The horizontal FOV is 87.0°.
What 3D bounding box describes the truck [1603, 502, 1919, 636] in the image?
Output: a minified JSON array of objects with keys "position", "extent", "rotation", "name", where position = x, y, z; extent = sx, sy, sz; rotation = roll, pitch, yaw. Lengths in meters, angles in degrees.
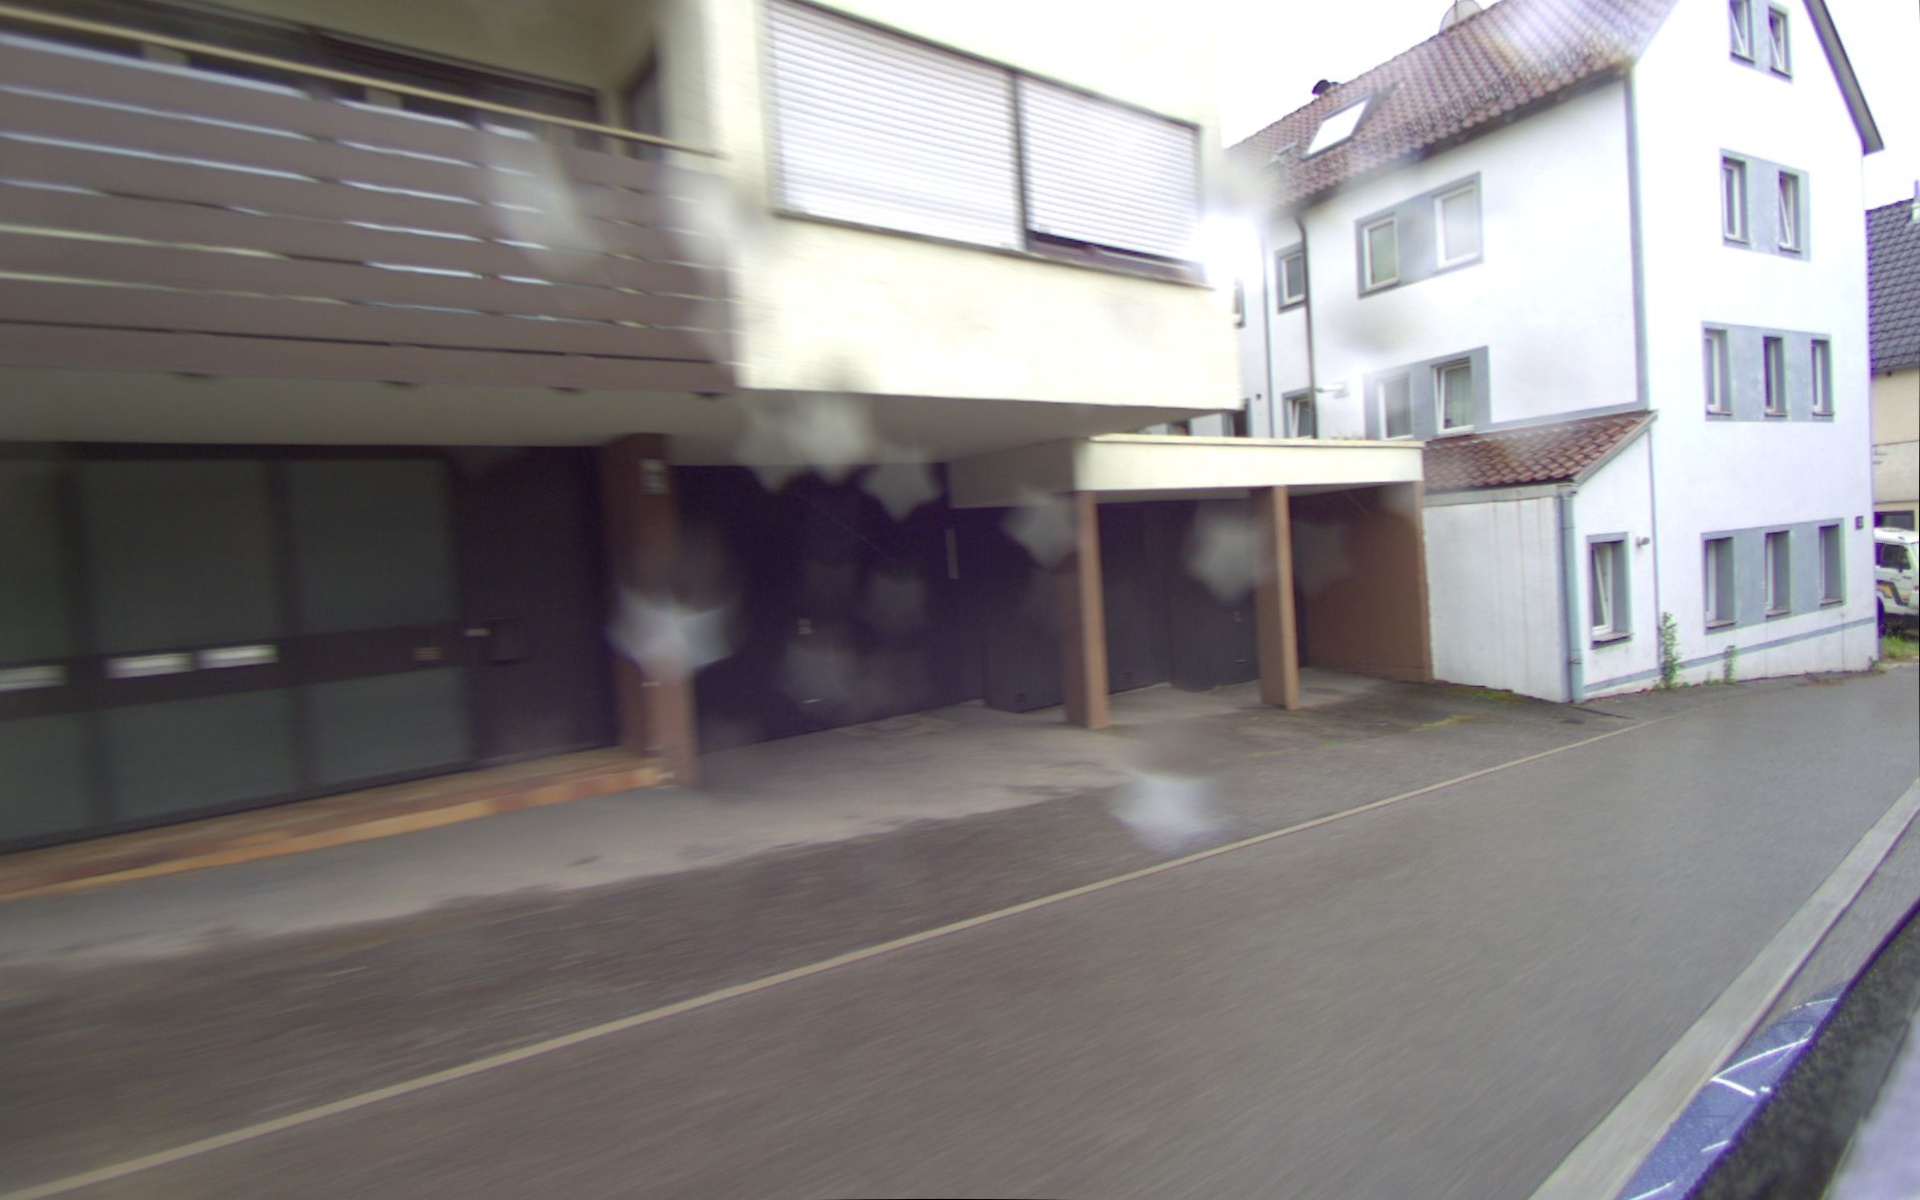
[{"position":[19.629,-0.908,24.176],"extent":[2.096,2.734,6.997],"rotation":[0,5,-26],"name":"truck"}]
